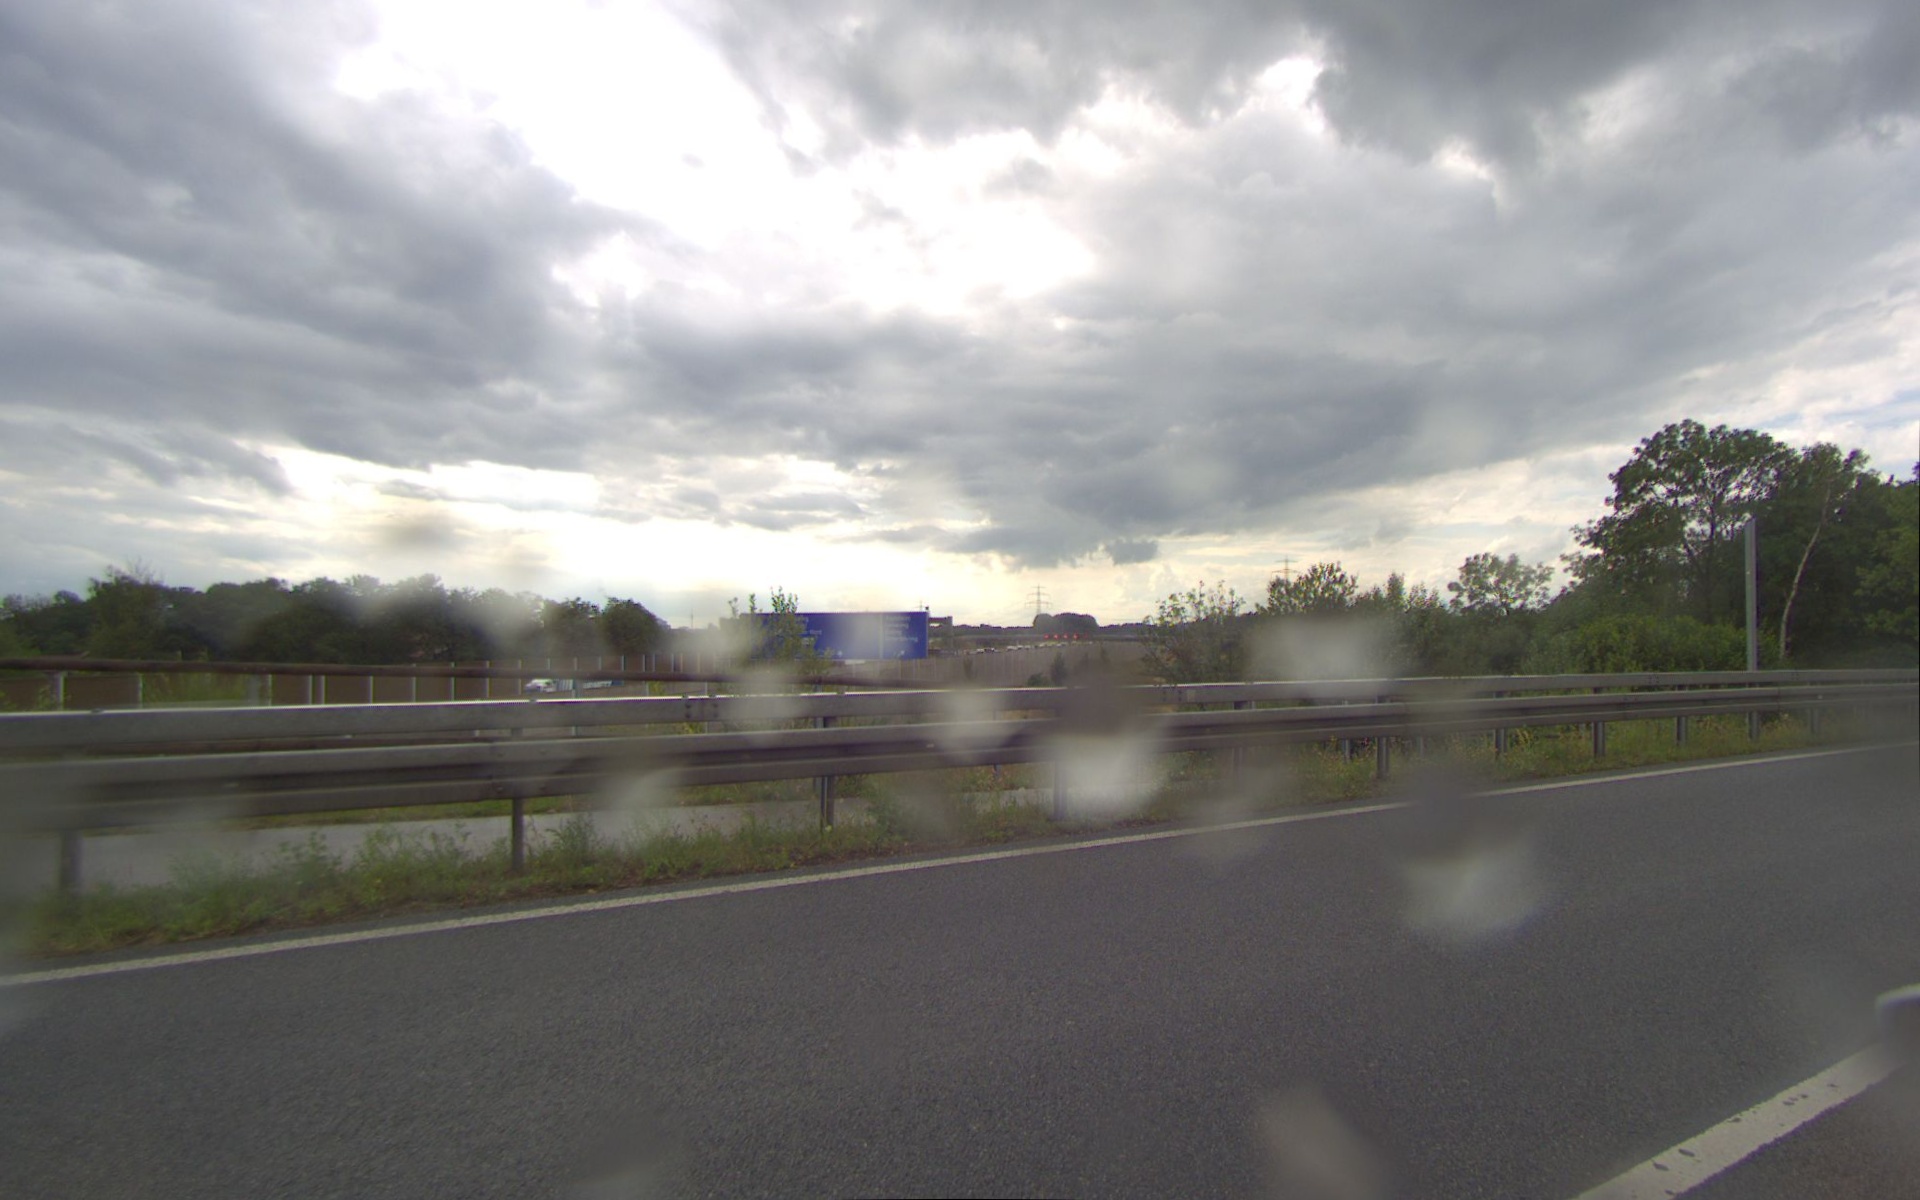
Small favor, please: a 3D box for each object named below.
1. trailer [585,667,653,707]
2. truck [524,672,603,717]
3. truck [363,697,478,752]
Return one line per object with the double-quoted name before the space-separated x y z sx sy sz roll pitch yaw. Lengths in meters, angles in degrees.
"trailer" -43.803 11.139 129.457 2.388 4.250 11.175 1 0 15
"truck" -46.646 11.043 118.691 2.388 4.250 11.175 1 0 15
"truck" -49.871 11.408 93.336 2.388 3.812 11.175 1 0 15
